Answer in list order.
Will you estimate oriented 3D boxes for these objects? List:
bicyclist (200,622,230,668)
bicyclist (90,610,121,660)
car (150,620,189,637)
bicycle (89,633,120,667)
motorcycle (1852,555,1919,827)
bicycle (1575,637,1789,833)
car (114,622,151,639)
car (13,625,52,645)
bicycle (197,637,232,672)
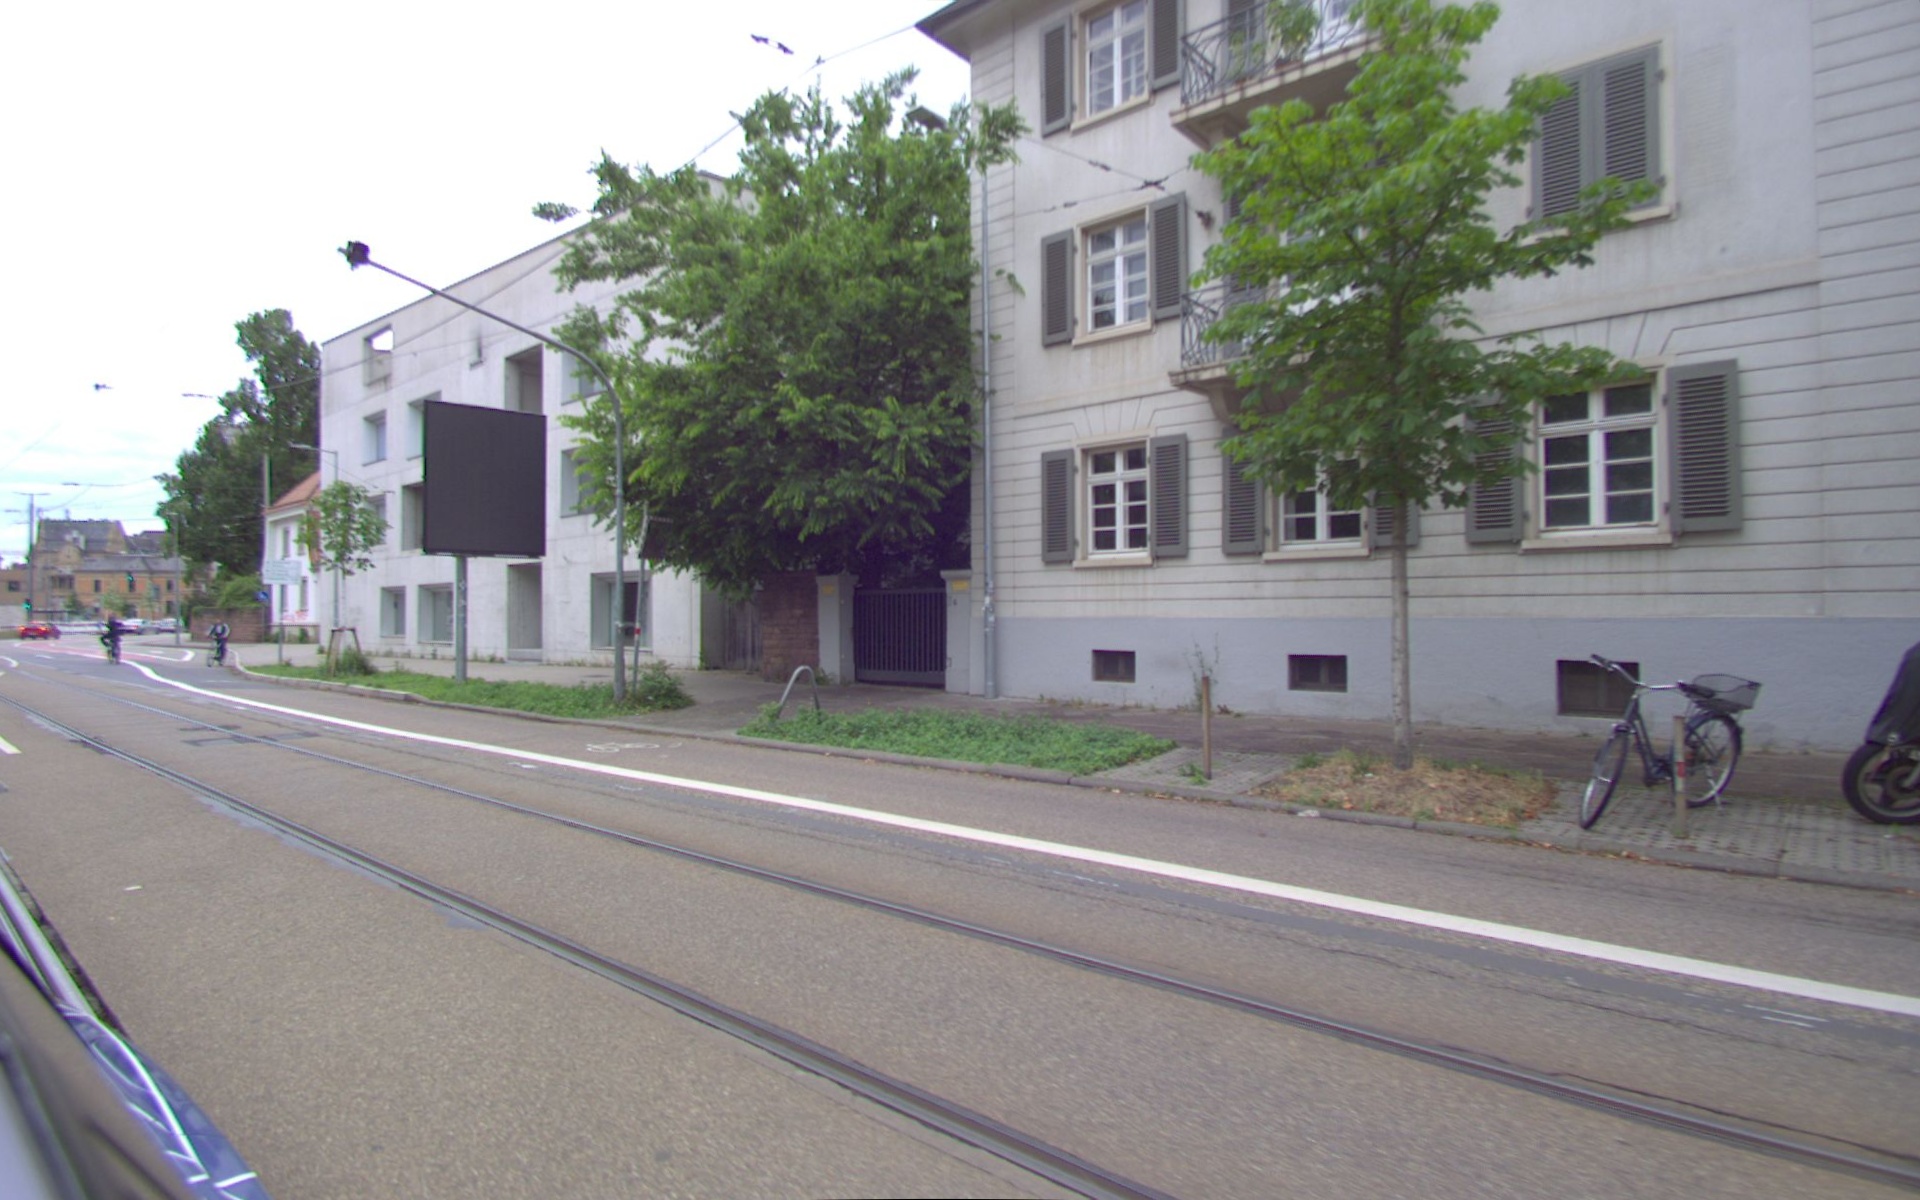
[{"bbox_3d":[-27.981,1.673,38.023,0.763,1.703,0.871,0,-1,-28],"label":"bicyclist"},{"bbox_3d":[-31.340,1.280,37.116,0.781,1.797,1.149,4,-4,-41],"label":"bicyclist"},{"bbox_3d":[-81.497,2.952,104.401,1.658,1.663,3.991,0,-1,-14],"label":"car"},{"bbox_3d":[-31.335,1.811,37.069,0.781,1.195,2.013,4,-4,-41],"label":"bicycle"},{"bbox_3d":[6.771,0.544,5.721,0.822,1.655,2.484,1,-1,-40],"label":"motorcycle"},{"bbox_3d":[5.018,0.868,7.003,1.718,1.137,0.519,-2,0,-31],"label":"bicycle"},{"bbox_3d":[-79.424,2.900,97.210,1.469,1.520,3.479,0,-1,-16],"label":"car"},{"bbox_3d":[-74.492,2.825,81.342,1.732,1.511,4.010,2,-2,-35],"label":"car"},{"bbox_3d":[-27.988,2.025,38.026,0.763,1.221,1.875,0,-1,-28],"label":"bicycle"}]
